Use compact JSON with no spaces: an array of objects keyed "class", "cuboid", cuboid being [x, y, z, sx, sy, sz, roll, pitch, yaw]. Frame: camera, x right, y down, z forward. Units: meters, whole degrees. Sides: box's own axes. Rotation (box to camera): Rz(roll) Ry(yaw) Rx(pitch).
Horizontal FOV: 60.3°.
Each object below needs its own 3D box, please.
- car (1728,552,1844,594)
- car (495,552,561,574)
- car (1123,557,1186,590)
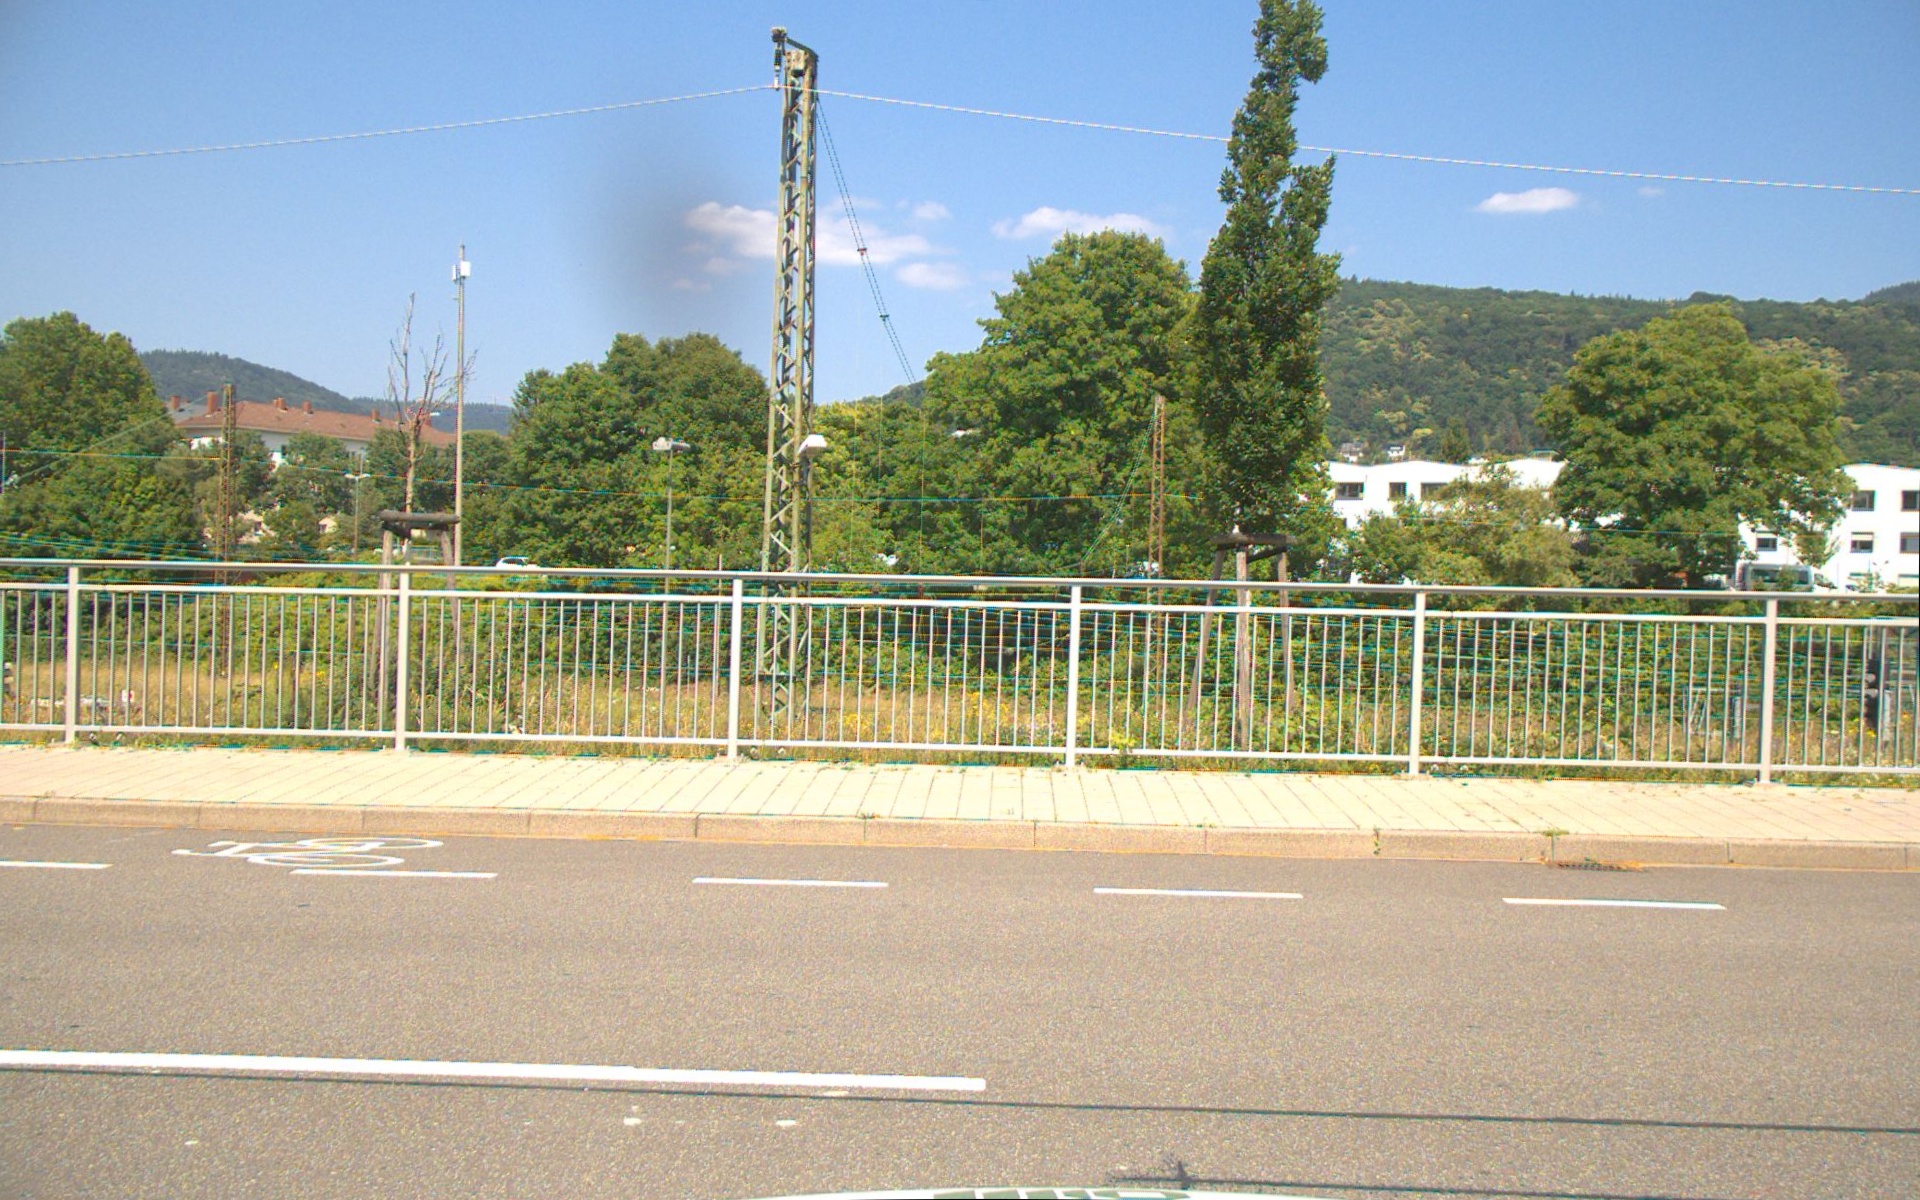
[{"class":"car","cuboid":[46.243,-1.482,92.700,5.383,2.139,2.136,0,-4,12]},{"class":"car","cuboid":[-28.696,-2.447,109.829,4.223,1.390,1.862,2,2,31]},{"class":"car","cuboid":[12.865,-1.749,109.450,3.839,2.049,1.755,0,-3,19]}]
